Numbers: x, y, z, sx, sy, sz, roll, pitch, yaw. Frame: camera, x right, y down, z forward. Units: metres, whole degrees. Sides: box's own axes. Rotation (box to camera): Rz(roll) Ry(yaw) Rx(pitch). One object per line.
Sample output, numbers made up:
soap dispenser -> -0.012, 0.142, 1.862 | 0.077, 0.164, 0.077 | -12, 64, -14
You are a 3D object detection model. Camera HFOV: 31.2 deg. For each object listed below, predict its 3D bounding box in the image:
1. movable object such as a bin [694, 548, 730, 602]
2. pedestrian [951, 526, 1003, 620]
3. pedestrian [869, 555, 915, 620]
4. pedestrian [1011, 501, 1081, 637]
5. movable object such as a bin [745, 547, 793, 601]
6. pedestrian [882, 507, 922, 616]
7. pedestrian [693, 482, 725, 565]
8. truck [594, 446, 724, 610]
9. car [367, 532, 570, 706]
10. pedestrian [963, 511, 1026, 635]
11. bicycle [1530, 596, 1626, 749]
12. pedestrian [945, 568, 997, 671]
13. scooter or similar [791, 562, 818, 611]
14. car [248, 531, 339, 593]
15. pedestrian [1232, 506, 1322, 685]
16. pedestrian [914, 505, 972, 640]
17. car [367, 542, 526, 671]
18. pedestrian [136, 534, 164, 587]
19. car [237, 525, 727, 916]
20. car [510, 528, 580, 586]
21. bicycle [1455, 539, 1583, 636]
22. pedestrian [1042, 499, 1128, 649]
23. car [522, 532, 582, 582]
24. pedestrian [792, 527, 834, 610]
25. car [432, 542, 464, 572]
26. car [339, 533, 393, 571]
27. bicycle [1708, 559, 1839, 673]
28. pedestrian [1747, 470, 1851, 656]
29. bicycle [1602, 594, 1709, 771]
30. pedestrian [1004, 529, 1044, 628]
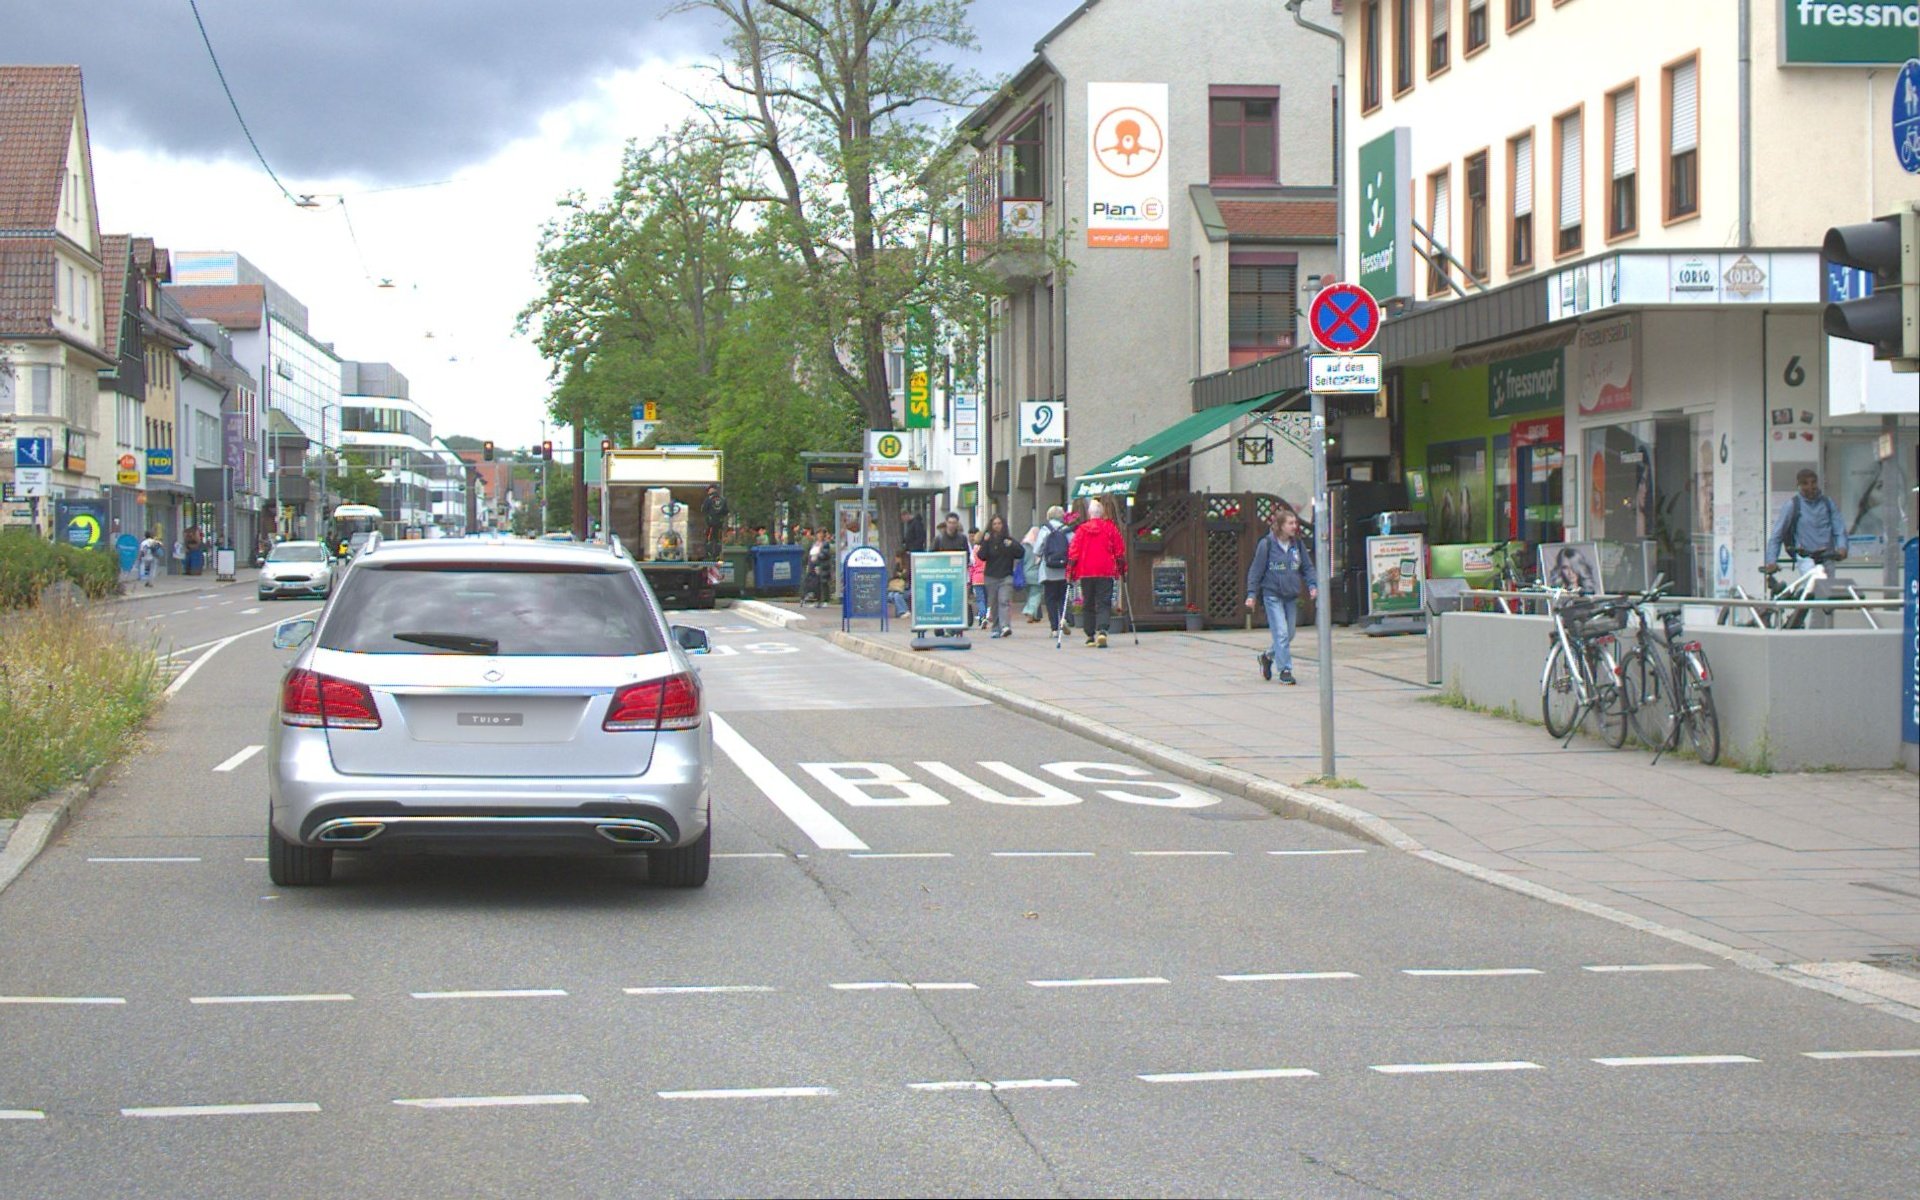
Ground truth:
movable object such as a bin -> -6.226, -0.641, 86.120 | 0.881, 1.335, 1.085 | 0, 1, -5
pedestrian -> 0.295, -0.485, 60.237 | 0.613, 1.629, 0.794 | -1, 2, -28
pedestrian -> -1.239, -0.229, 62.613 | 0.711, 1.162, 0.588 | 0, 2, -13
pedestrian -> 1.119, -0.398, 44.873 | 0.682, 1.736, 0.782 | -2, 0, -12
movable object such as a bin -> -4.789, -0.656, 86.067 | 1.143, 1.335, 1.376 | 0, 1, -5
pedestrian -> -1.095, -0.736, 65.220 | 0.613, 2.040, 0.588 | -2, 0, 7
pedestrian -> -5.420, -1.652, 74.112 | 0.613, 1.774, 0.588 | -1, 0, -10
truck -> -7.055, -1.664, 79.478 | 2.688, 3.549, 9.769 | 0, 1, -7
car -> -4.558, 0.143, 32.298 | 1.754, 1.515, 4.001 | 0, 1, -7
pedestrian -> 0.454, -0.361, 45.748 | 0.718, 1.629, 0.615 | -1, 0, -9
bicycle -> 4.173, 0.478, 23.262 | 0.273, 0.971, 1.387 | 0, 1, -6
pedestrian -> 0.174, 0.299, 53.268 | 0.672, 1.562, 0.491 | 2, 2, 14
scooter or similar -> -3.085, -0.274, 68.152 | 0.355, 0.955, 0.384 | 0, 1, 42
car -> -16.882, -0.960, 87.215 | 1.874, 1.501, 4.344 | -1, 1, -6
pedestrian -> 2.911, -0.051, 31.620 | 0.687, 1.629, 0.853 | 0, 1, -4
pedestrian -> -0.215, -0.349, 43.668 | 0.612, 1.672, 0.615 | 3, 1, -4
car -> -6.969, 0.052, 46.958 | 1.993, 1.678, 4.001 | 0, 1, -6
pedestrian -> -25.654, -1.246, 108.888 | 0.816, 1.629, 0.980 | 2, 1, -12
car -> -2.140, 0.441, 15.332 | 1.874, 1.501, 4.001 | 0, 1, -8
car -> -12.198, -1.267, 101.277 | 1.993, 1.678, 4.001 | 0, 1, -6
bicycle -> 6.346, -0.159, 39.155 | 0.741, 1.059, 2.352 | -1, 1, -8
pedestrian -> 1.479, -0.302, 40.845 | 0.795, 1.736, 0.782 | -2, 0, -12
car -> -13.953, -1.475, 117.737 | 1.993, 1.678, 4.001 | 0, 1, -6
pedestrian -> -2.936, -0.630, 68.609 | 0.534, 1.629, 0.588 | 2, 1, -31
car -> -26.900, -2.269, 180.568 | 1.569, 1.535, 2.961 | 2, 1, -9
car -> -28.534, -2.311, 165.272 | 2.068, 1.732, 4.694 | -2, 1, -4
bicycle -> 7.217, 0.129, 30.541 | 0.273, 0.971, 1.387 | -1, 2, -29
pedestrian -> 7.444, -0.334, 30.523 | 0.666, 1.629, 0.801 | 0, 1, -6
bicycle -> 4.397, 0.506, 21.785 | 0.273, 1.049, 1.387 | 0, 1, -6
pedestrian -> 1.059, -0.365, 56.973 | 0.586, 1.629, 0.615 | 0, 1, -5
